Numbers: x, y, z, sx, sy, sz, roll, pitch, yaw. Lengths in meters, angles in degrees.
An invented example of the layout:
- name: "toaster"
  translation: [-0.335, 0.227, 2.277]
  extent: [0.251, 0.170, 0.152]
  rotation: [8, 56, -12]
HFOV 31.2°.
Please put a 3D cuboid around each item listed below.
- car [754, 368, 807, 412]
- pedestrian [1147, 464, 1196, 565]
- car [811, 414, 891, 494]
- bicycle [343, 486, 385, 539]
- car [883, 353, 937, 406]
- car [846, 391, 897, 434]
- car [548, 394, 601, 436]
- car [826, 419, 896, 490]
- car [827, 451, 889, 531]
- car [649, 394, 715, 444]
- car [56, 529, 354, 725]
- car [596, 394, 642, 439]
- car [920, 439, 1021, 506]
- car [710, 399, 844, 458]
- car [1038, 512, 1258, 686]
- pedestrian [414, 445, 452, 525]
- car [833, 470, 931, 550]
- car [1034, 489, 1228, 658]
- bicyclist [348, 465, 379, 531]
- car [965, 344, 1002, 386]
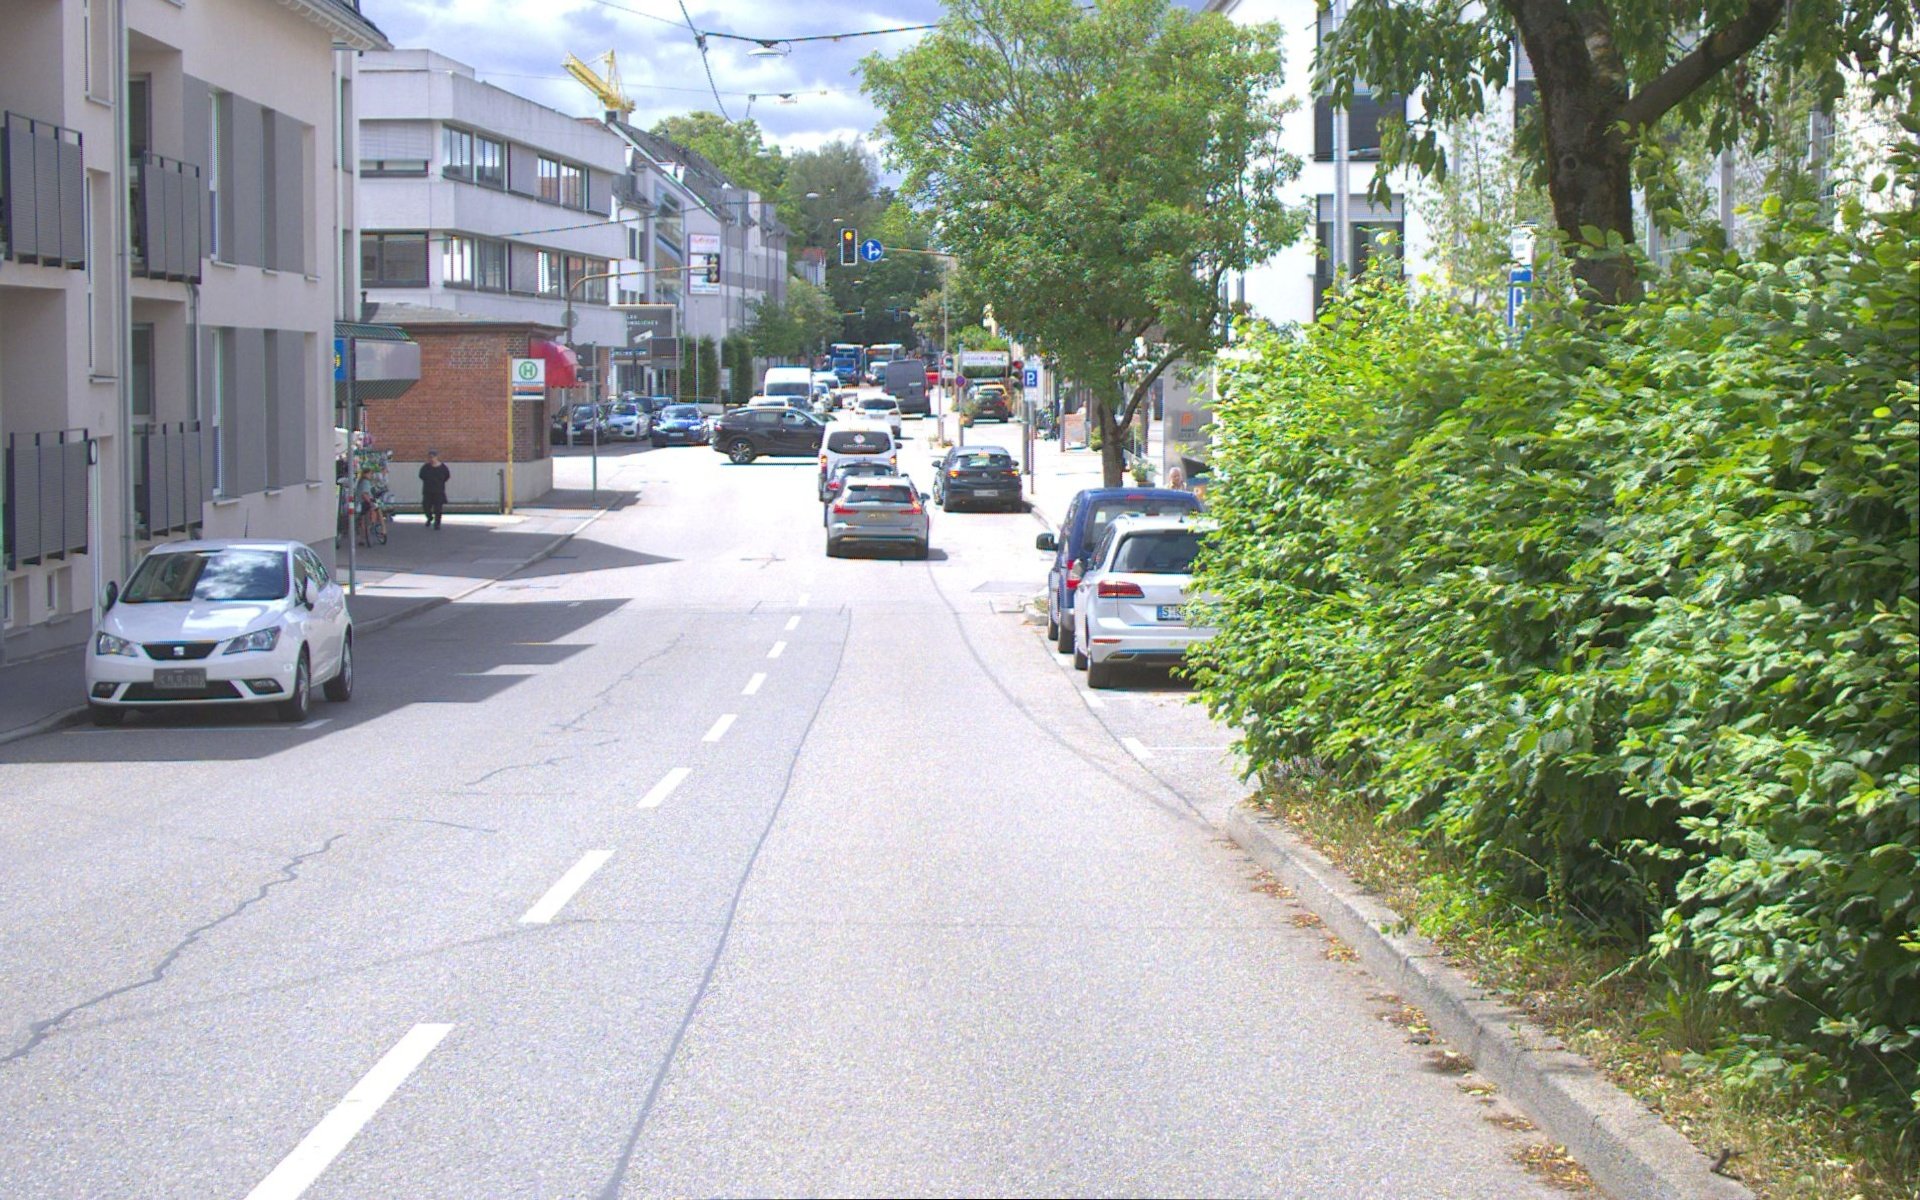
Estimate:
- name: "car"
  translation: [-7.319, -8.549, 140.356]
  extent: [1.873, 1.634, 4.000]
  rotation: [1, 2, 1]
- name: "pedestrian"
  translation: [3.491, -1.406, 56.755]
  extent: [0.737, 1.642, 0.616]
  rotation: [2, 1, 1]
- name: "car"
  translation: [-2.604, -3.519, 82.986]
  extent: [1.836, 1.855, 3.851]
  rotation: [1, 2, -1]
- name: "bicycle"
  translation: [-10.854, -1.600, 62.650]
  extent: [0.467, 0.858, 1.777]
  rotation: [2, 4, -1]
- name: "car"
  translation: [-2.398, -10.459, 163.368]
  extent: [2.436, 2.310, 5.327]
  rotation: [2, 3, -1]
- name: "car"
  translation: [-3.371, -7.161, 131.345]
  extent: [1.888, 1.503, 4.000]
  rotation: [-1, 2, -1]
- name: "car"
  translation: [-13.618, -6.532, 121.608]
  extent: [1.551, 1.371, 3.399]
  rotation: [1, 2, -1]
- name: "car"
  translation: [-2.689, -3.963, 93.918]
  extent: [1.836, 1.855, 3.851]
  rotation: [1, 2, -1]
- name: "car"
  translation: [-2.154, -2.315, 72.532]
  extent: [1.273, 1.522, 3.051]
  rotation: [0, 5, -2]
- name: "car"
  translation: [-9.877, -6.439, 122.380]
  extent: [1.873, 1.634, 4.000]
  rotation: [2, 2, 1]
- name: "car"
  translation: [-6.041, 0.169, 27.880]
  extent: [1.647, 1.414, 3.699]
  rotation: [1, 2, -1]
- name: "car"
  translation: [-12.572, -6.768, 126.902]
  extent: [1.384, 1.535, 3.399]
  rotation: [1, 2, -1]
- name: "car"
  translation: [0.215, -2.952, 79.275]
  extent: [1.752, 1.366, 4.002]
  rotation: [0, 4, -8]
- name: "car"
  translation: [-5.440, -5.106, 102.299]
  extent: [3.649, 1.609, 1.576]
  rotation: [1, 2, -34]
- name: "car"
  translation: [1.743, -0.062, 33.124]
  extent: [1.786, 1.504, 4.365]
  rotation: [1, 2, -1]
- name: "pedestrian"
  translation: [-10.638, -2.326, 69.368]
  extent: [0.628, 1.597, 0.563]
  rotation: [1, 2, 2]
- name: "car"
  translation: [-1.437, -1.685, 63.544]
  extent: [1.744, 1.412, 4.001]
  rotation: [0, 2, -1]
- name: "car"
  translation: [1.862, -0.347, 38.700]
  extent: [1.844, 1.761, 4.515]
  rotation: [1, 2, -1]
- name: "bicyclist"
  translation: [-10.858, -1.860, 62.605]
  extent: [0.458, 1.175, 0.625]
  rotation: [0, 2, -1]
- name: "car"
  translation: [1.205, -12.050, 176.585]
  extent: [1.801, 2.006, 4.001]
  rotation: [1, 2, -1]
